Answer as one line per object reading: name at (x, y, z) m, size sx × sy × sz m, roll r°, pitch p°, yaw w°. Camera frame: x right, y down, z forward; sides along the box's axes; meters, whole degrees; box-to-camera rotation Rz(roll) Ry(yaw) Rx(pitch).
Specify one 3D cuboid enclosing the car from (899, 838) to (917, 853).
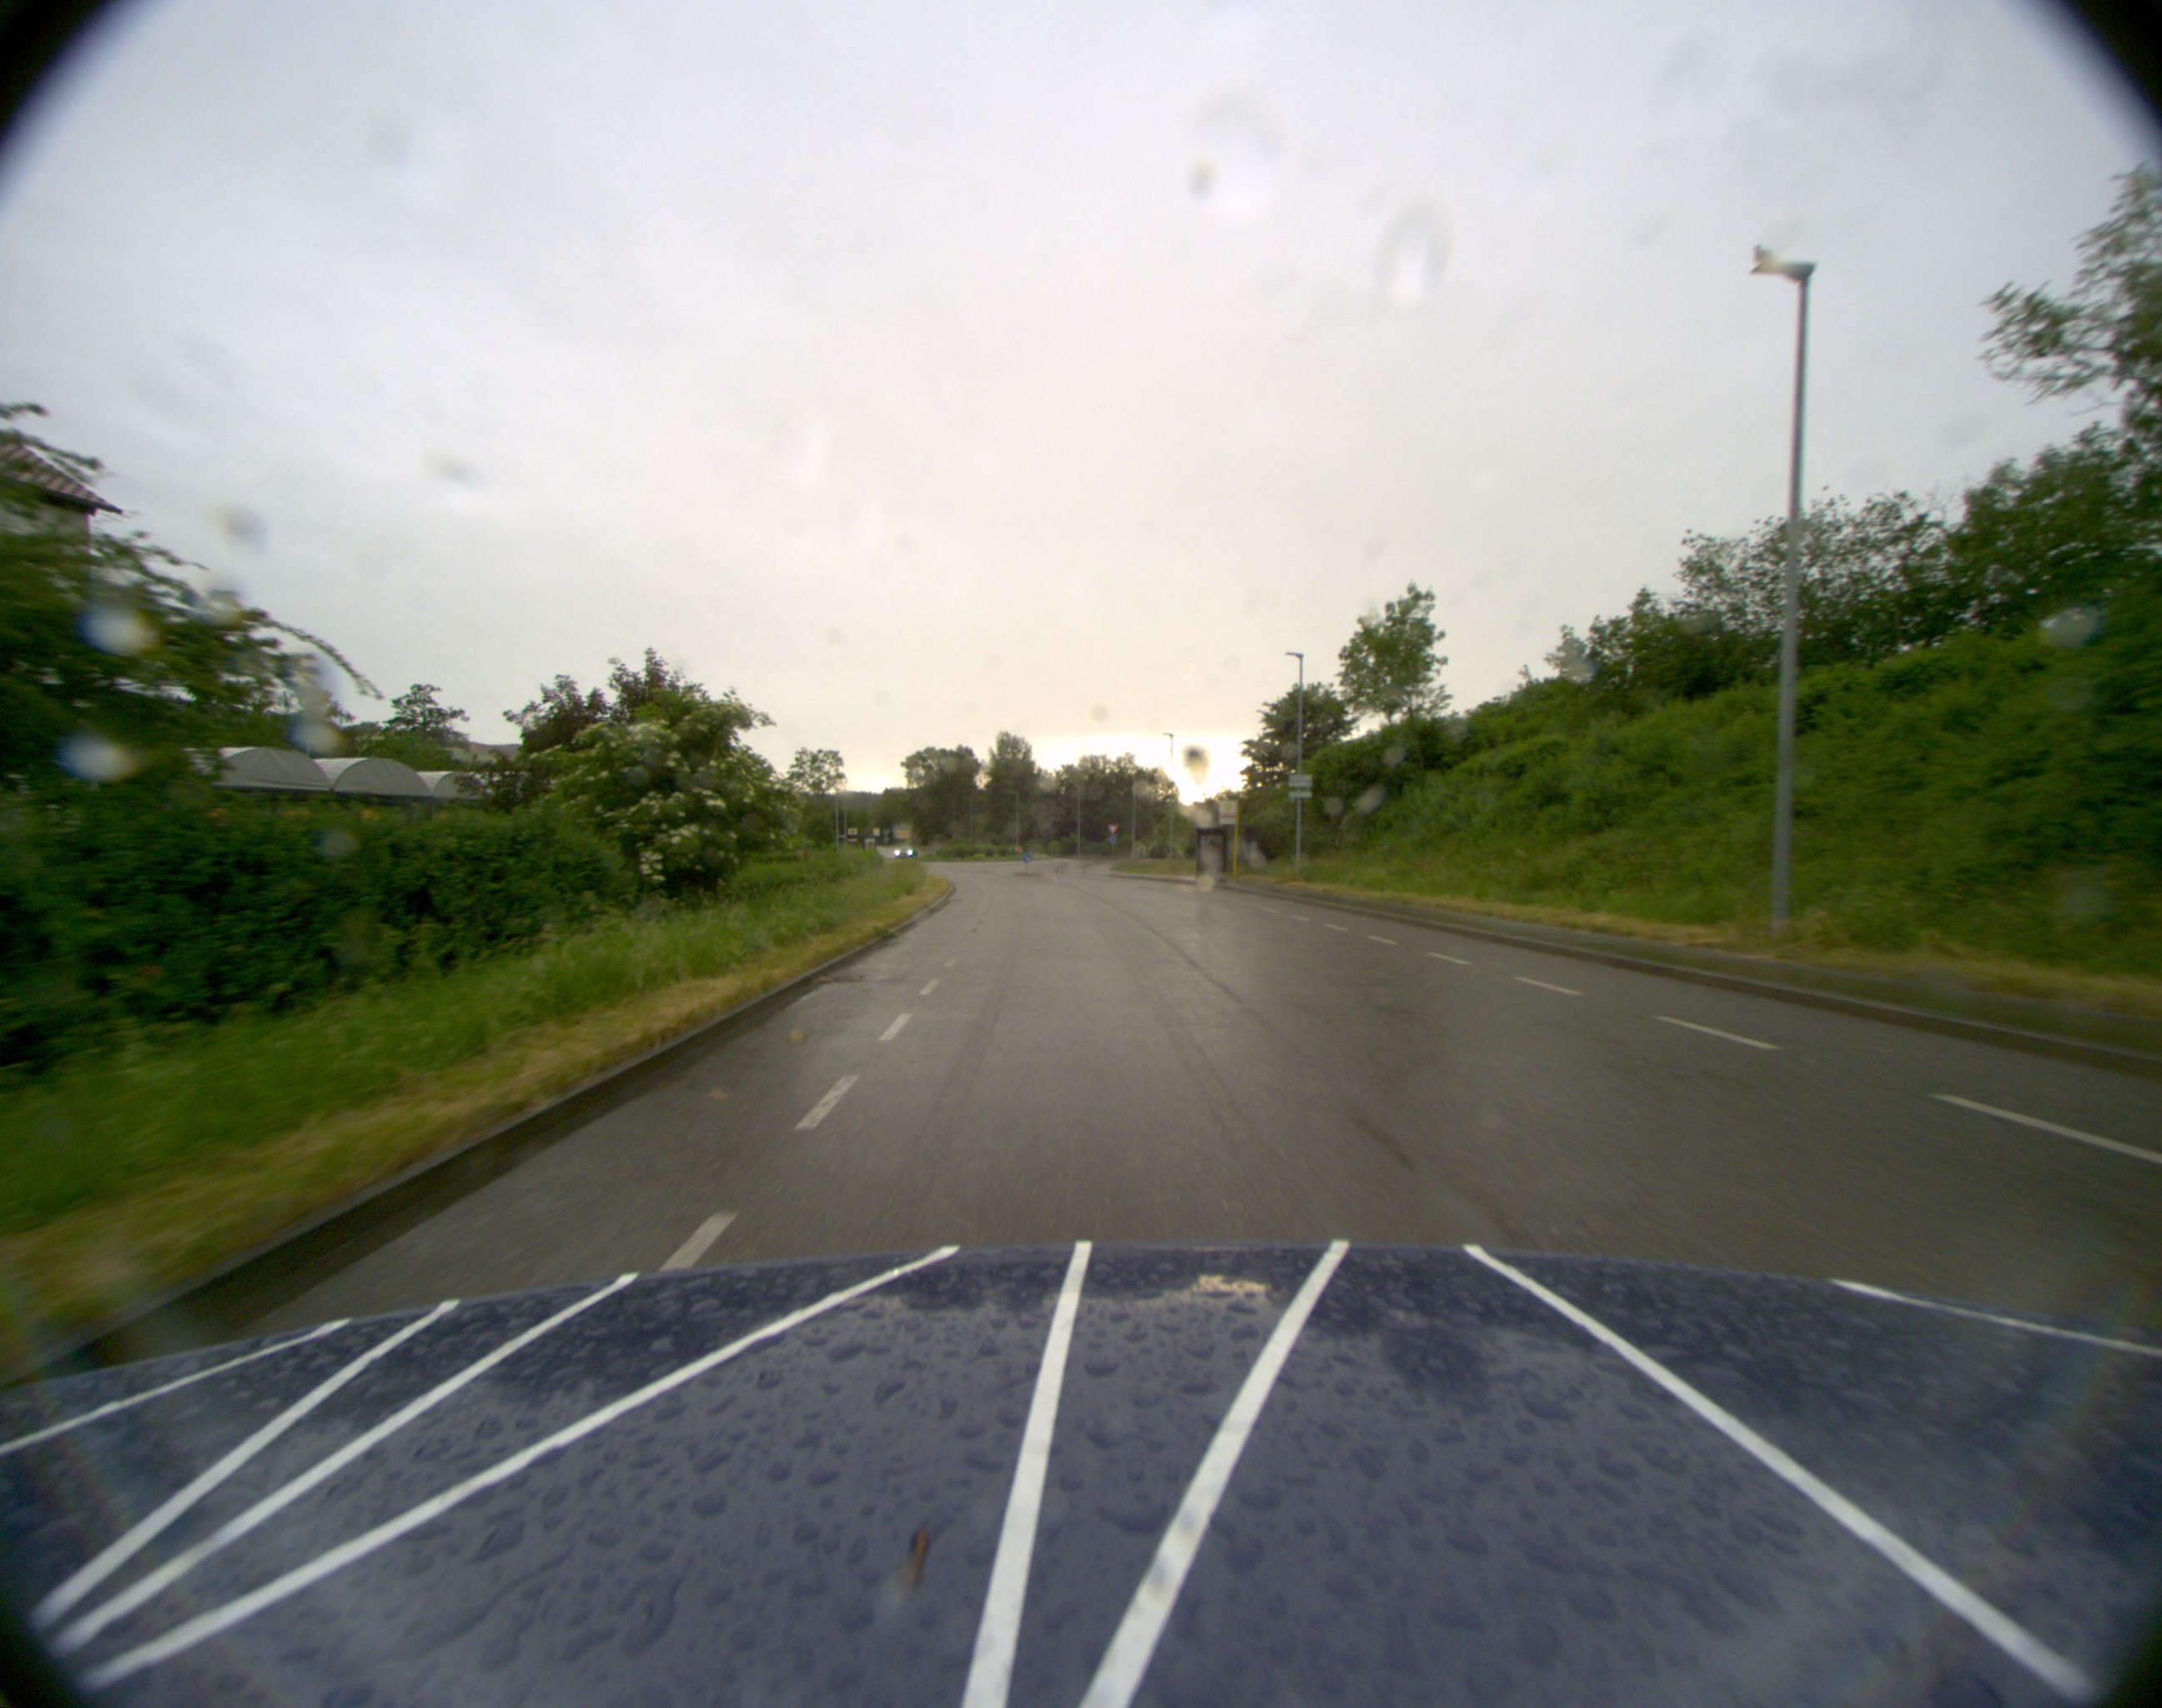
car at (-19.187, -0.929, 84.181) m, size 1.882 × 1.597 × 3.994 m, roll 1°, pitch 1°, yaw -13°
